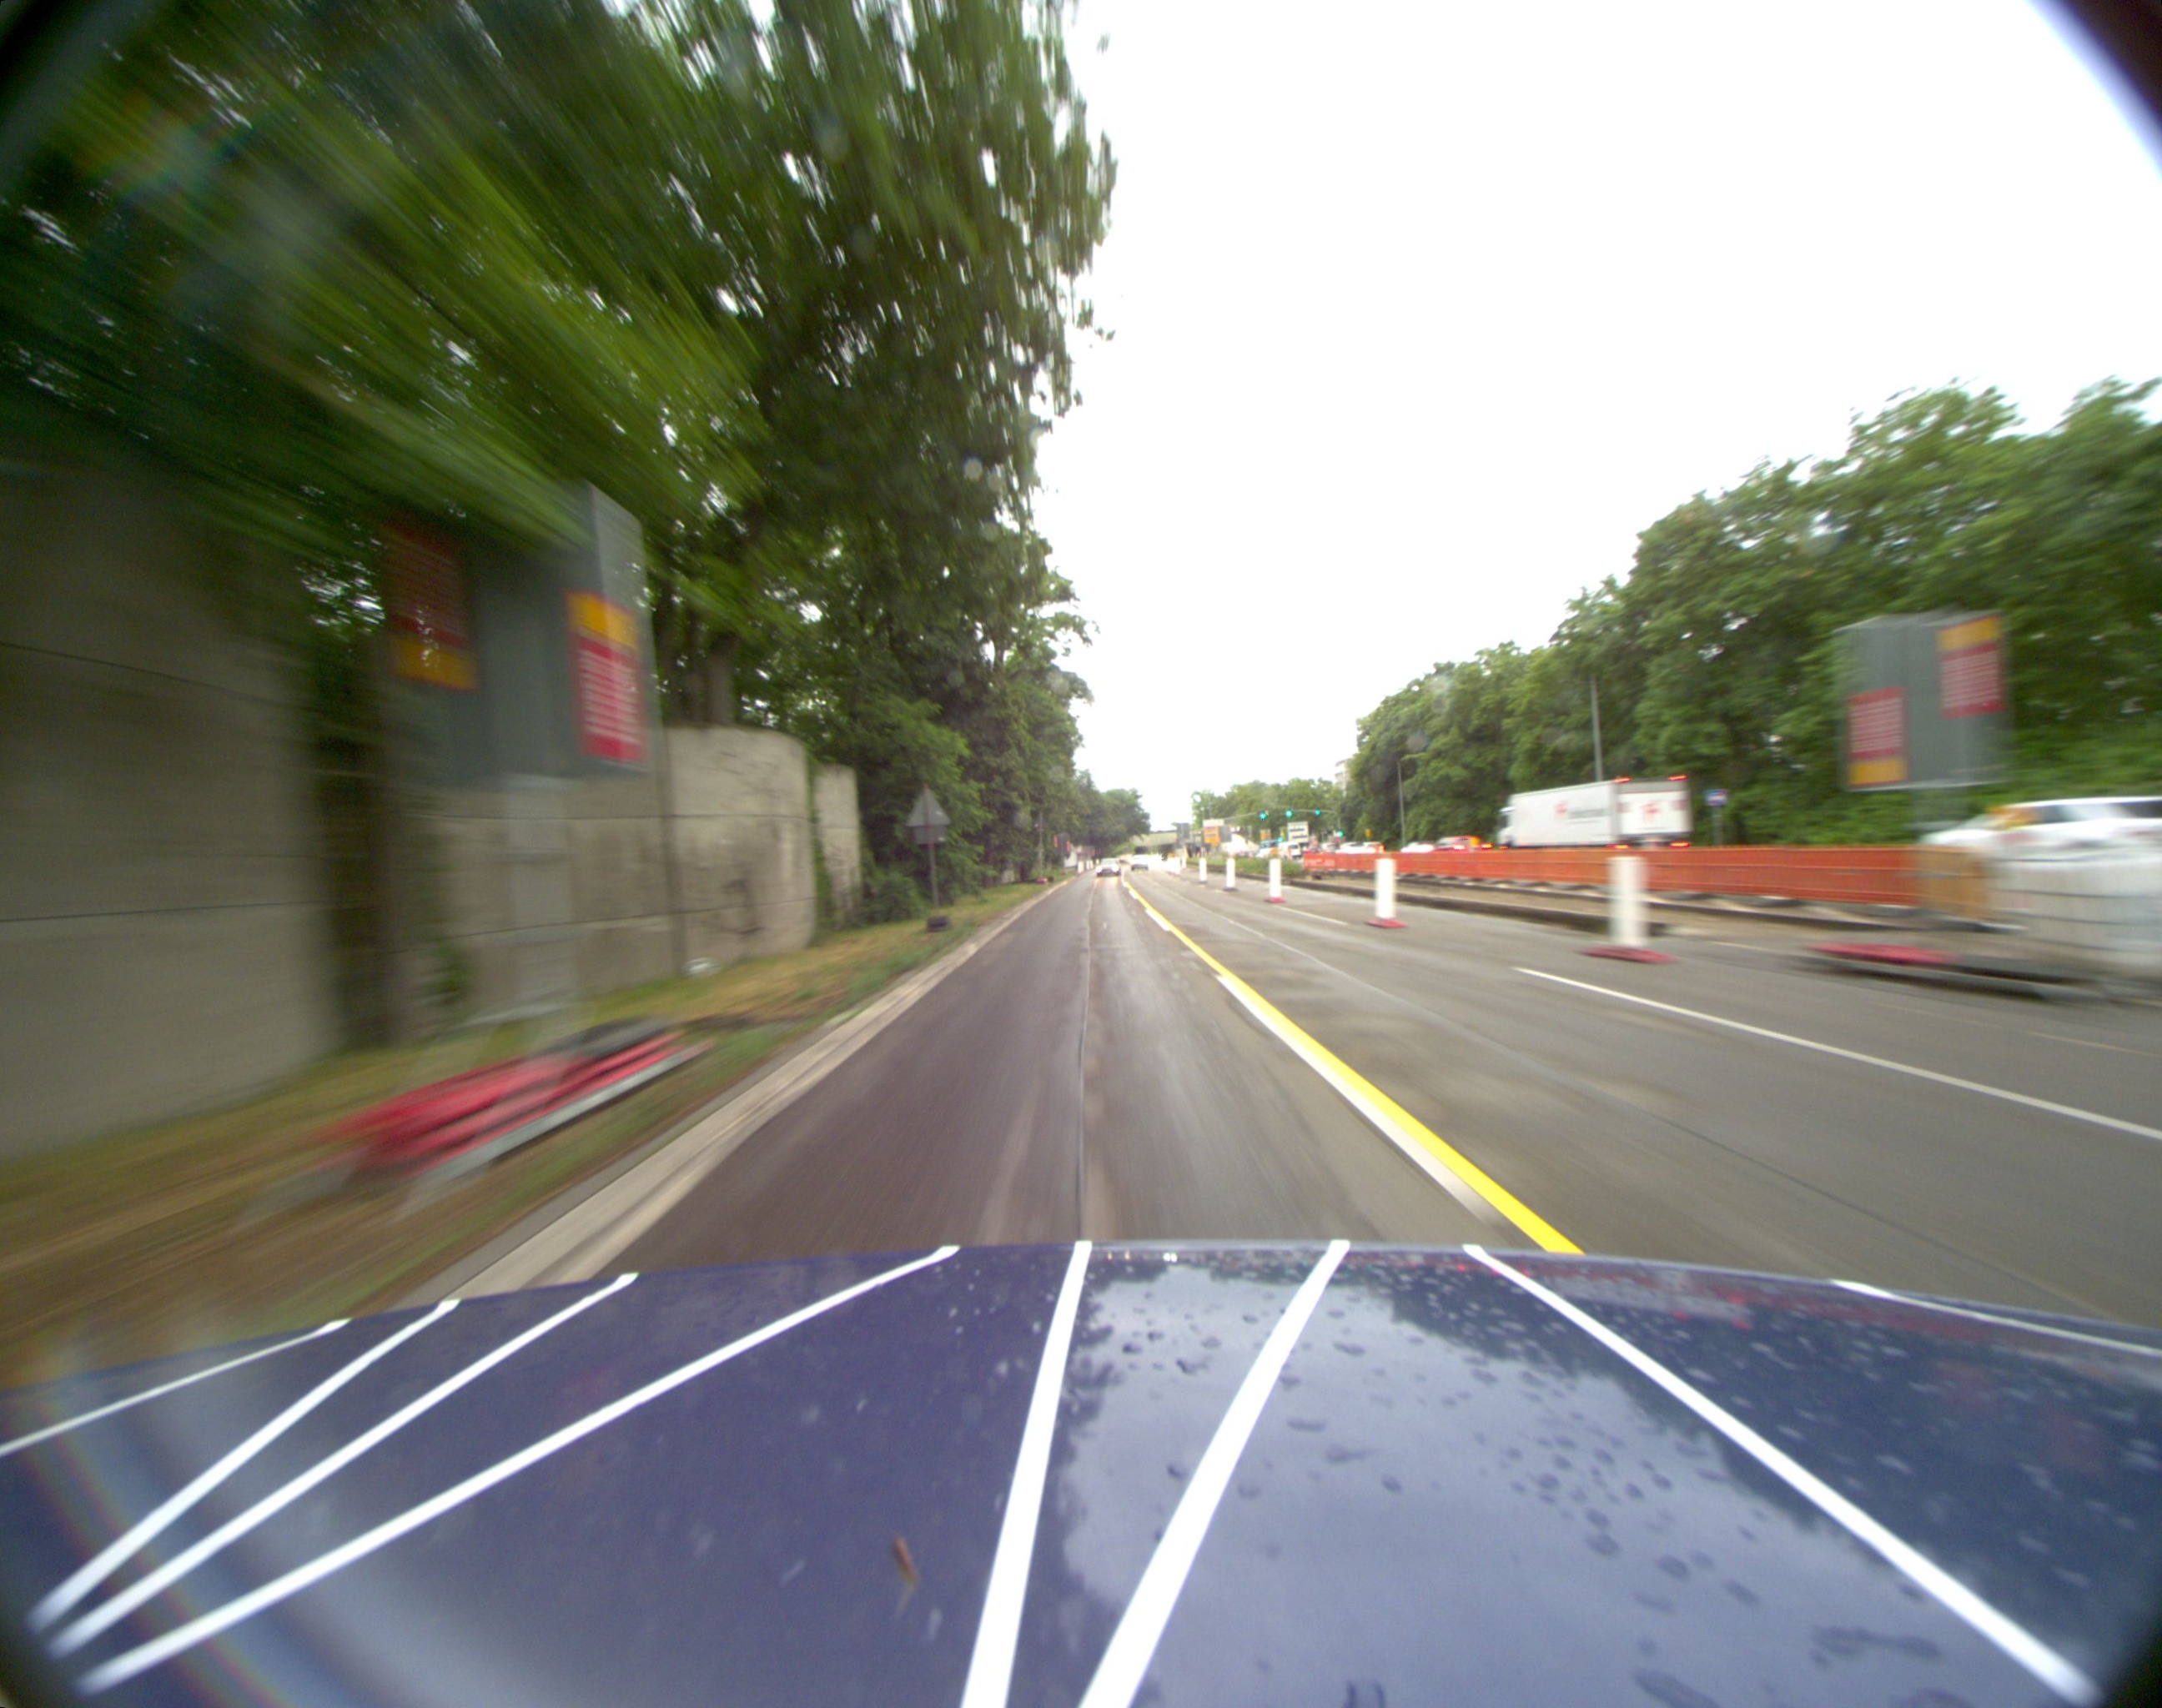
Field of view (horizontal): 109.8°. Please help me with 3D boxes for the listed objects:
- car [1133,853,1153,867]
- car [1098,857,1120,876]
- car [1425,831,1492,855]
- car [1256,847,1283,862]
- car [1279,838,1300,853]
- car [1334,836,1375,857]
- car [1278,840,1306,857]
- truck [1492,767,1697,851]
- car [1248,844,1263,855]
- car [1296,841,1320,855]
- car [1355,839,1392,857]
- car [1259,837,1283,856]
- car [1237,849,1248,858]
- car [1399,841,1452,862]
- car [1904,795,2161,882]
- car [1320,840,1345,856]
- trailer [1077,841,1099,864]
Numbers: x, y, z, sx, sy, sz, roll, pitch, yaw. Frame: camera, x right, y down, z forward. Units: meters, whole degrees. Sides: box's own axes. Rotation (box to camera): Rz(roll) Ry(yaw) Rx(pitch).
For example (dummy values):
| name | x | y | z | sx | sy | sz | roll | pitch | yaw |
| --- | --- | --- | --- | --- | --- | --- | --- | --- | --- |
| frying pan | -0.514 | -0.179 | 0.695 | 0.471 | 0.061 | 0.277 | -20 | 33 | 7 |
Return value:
| name | x | y | z | sx | sy | sz | roll | pitch | yaw |
| --- | --- | --- | --- | --- | --- | --- | --- | --- | --- |
| car | 6.632 | 0.600 | 80.514 | 1.696 | 1.300 | 3.828 | -3 | 0 | 10 |
| car | 2.301 | 1.005 | 63.109 | 1.697 | 1.393 | 3.825 | -3 | 0 | 2 |
| car | 20.253 | -0.575 | 40.940 | 1.609 | 1.145 | 4.283 | -3 | 0 | 3 |
| car | 19.977 | 0.025 | 80.760 | 1.860 | 1.477 | 4.679 | -3 | 0 | 3 |
| car | 31.133 | -1.219 | 113.504 | 2.039 | 1.962 | 4.993 | -4 | -1 | 6 |
| car | 21.742 | -0.582 | 60.543 | 1.839 | 1.541 | 4.040 | -3 | 0 | 3 |
| car | 23.938 | -0.639 | 86.264 | 1.918 | 1.771 | 4.834 | -4 | 0 | 2 |
| truck | 22.788 | -1.801 | 34.754 | 2.802 | 3.130 | 10.149 | -3 | 0 | 3 |
| car | 21.574 | -0.562 | 94.078 | 1.432 | 1.193 | 3.301 | -4 | 0 | 7 |
| car | 27.027 | -0.701 | 90.518 | 1.797 | 1.514 | 4.636 | -4 | 0 | 7 |
| car | 25.419 | -0.502 | 66.197 | 1.795 | 1.417 | 3.897 | -3 | 0 | 3 |
| car | 26.169 | -1.048 | 104.770 | 2.200 | 2.376 | 6.247 | -4 | -1 | 6 |
| car | 23.793 | -0.133 | 111.972 | 1.551 | 1.193 | 4.649 | -4 | 0 | 11 |
| car | 24.017 | -0.178 | 53.141 | 1.814 | 1.371 | 4.369 | -3 | 0 | 2 |
| car | 22.242 | -0.312 | 17.377 | 1.849 | 1.713 | 4.720 | 0 | 0 | 3 |
| car | 26.273 | -0.634 | 79.583 | 1.675 | 1.514 | 3.791 | -4 | 0 | 7 |
| trailer | 1.150 | -0.226 | 121.990 | 2.311 | 3.568 | 5.964 | -2 | 1 | 11 |
